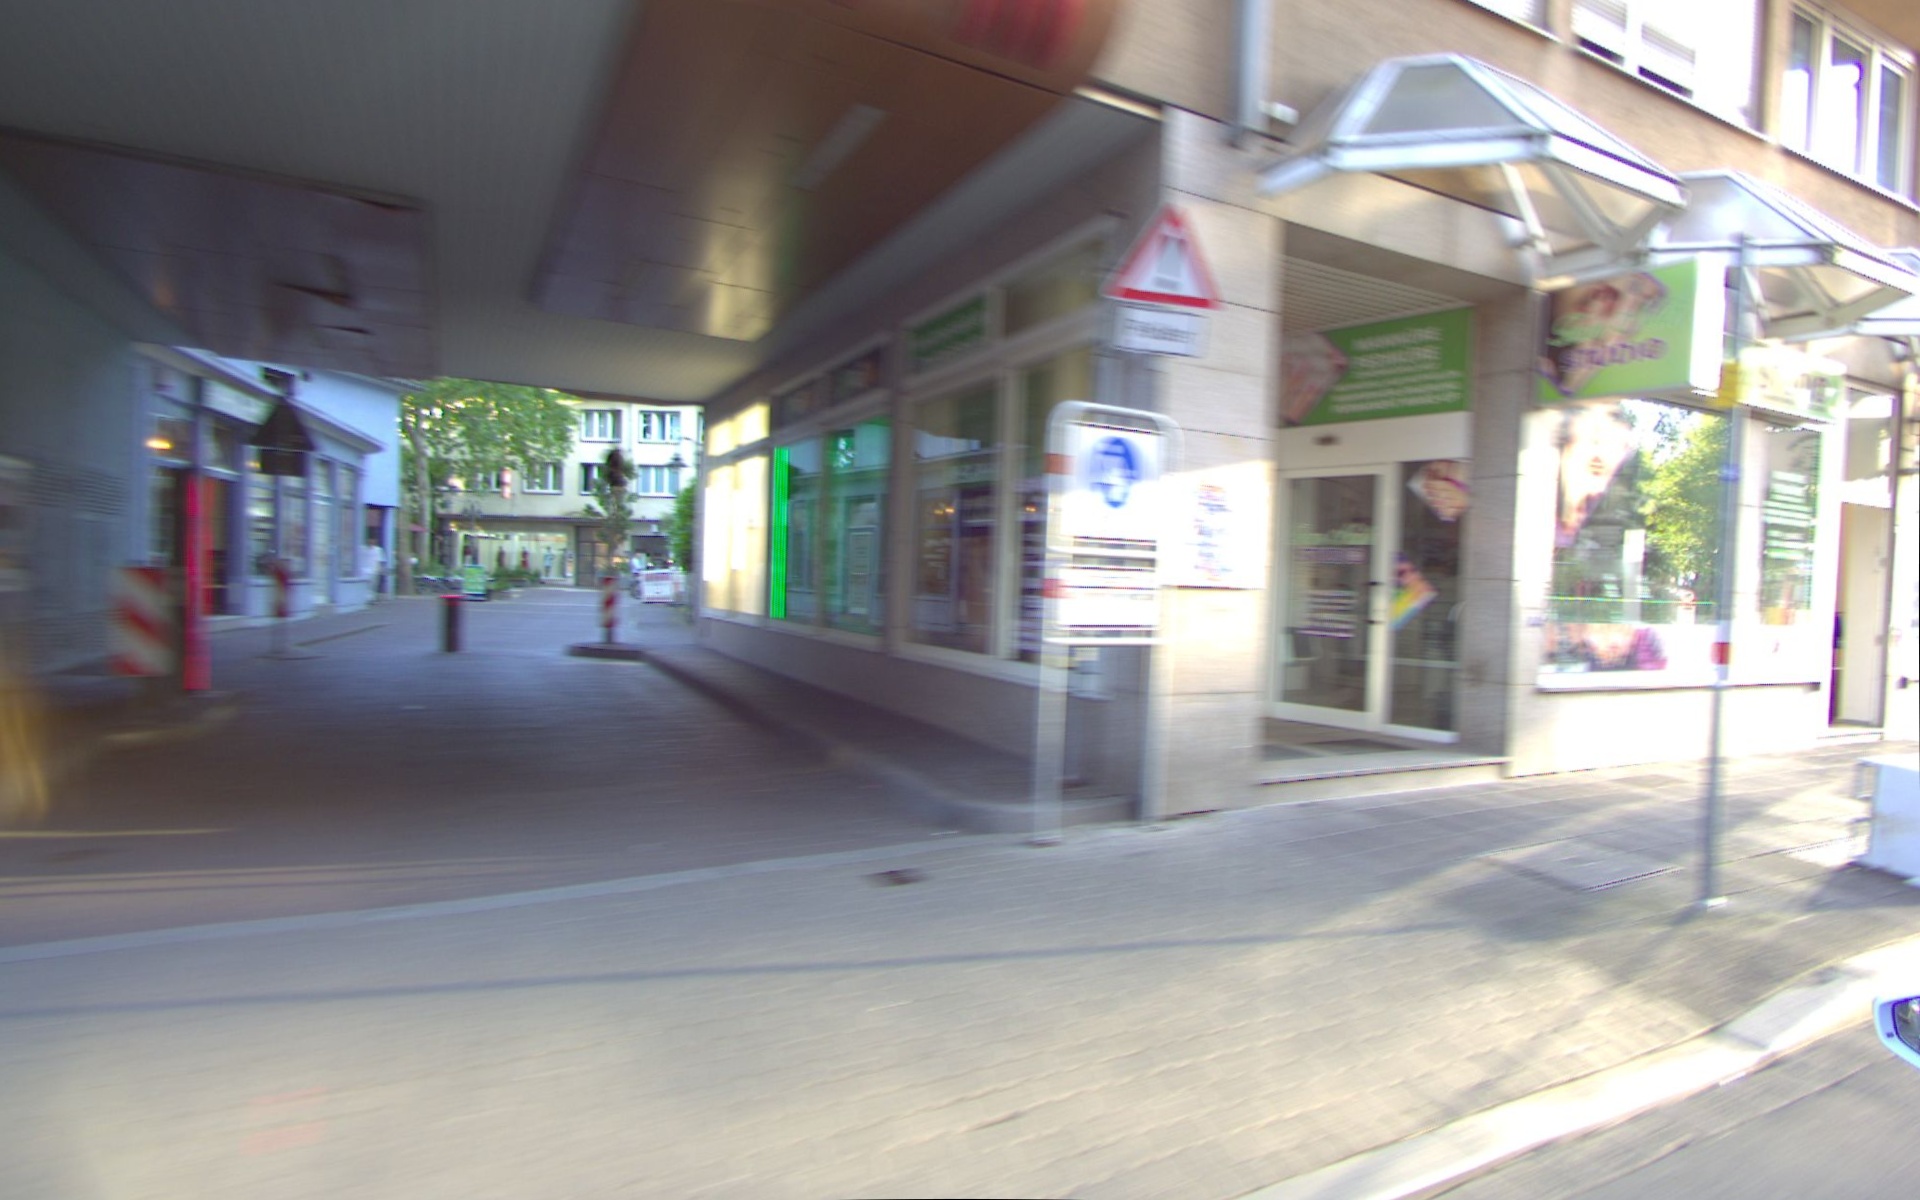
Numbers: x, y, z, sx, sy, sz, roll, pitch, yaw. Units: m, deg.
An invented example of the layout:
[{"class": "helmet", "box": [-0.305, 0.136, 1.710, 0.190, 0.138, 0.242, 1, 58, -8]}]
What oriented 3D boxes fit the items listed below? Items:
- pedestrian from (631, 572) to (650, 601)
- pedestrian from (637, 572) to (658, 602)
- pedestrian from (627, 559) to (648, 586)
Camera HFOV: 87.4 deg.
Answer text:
[{"class": "pedestrian", "box": [-12.318, -0.534, 38.713, 0.663, 1.077, 0.596, 2, 2, -21]}, {"class": "pedestrian", "box": [-11.745, -0.482, 37.757, 0.663, 1.077, 0.596, 2, 2, -21]}, {"class": "pedestrian", "box": [-13.250, -1.130, 41.288, 0.660, 1.077, 0.599, 2, 2, -4]}]
